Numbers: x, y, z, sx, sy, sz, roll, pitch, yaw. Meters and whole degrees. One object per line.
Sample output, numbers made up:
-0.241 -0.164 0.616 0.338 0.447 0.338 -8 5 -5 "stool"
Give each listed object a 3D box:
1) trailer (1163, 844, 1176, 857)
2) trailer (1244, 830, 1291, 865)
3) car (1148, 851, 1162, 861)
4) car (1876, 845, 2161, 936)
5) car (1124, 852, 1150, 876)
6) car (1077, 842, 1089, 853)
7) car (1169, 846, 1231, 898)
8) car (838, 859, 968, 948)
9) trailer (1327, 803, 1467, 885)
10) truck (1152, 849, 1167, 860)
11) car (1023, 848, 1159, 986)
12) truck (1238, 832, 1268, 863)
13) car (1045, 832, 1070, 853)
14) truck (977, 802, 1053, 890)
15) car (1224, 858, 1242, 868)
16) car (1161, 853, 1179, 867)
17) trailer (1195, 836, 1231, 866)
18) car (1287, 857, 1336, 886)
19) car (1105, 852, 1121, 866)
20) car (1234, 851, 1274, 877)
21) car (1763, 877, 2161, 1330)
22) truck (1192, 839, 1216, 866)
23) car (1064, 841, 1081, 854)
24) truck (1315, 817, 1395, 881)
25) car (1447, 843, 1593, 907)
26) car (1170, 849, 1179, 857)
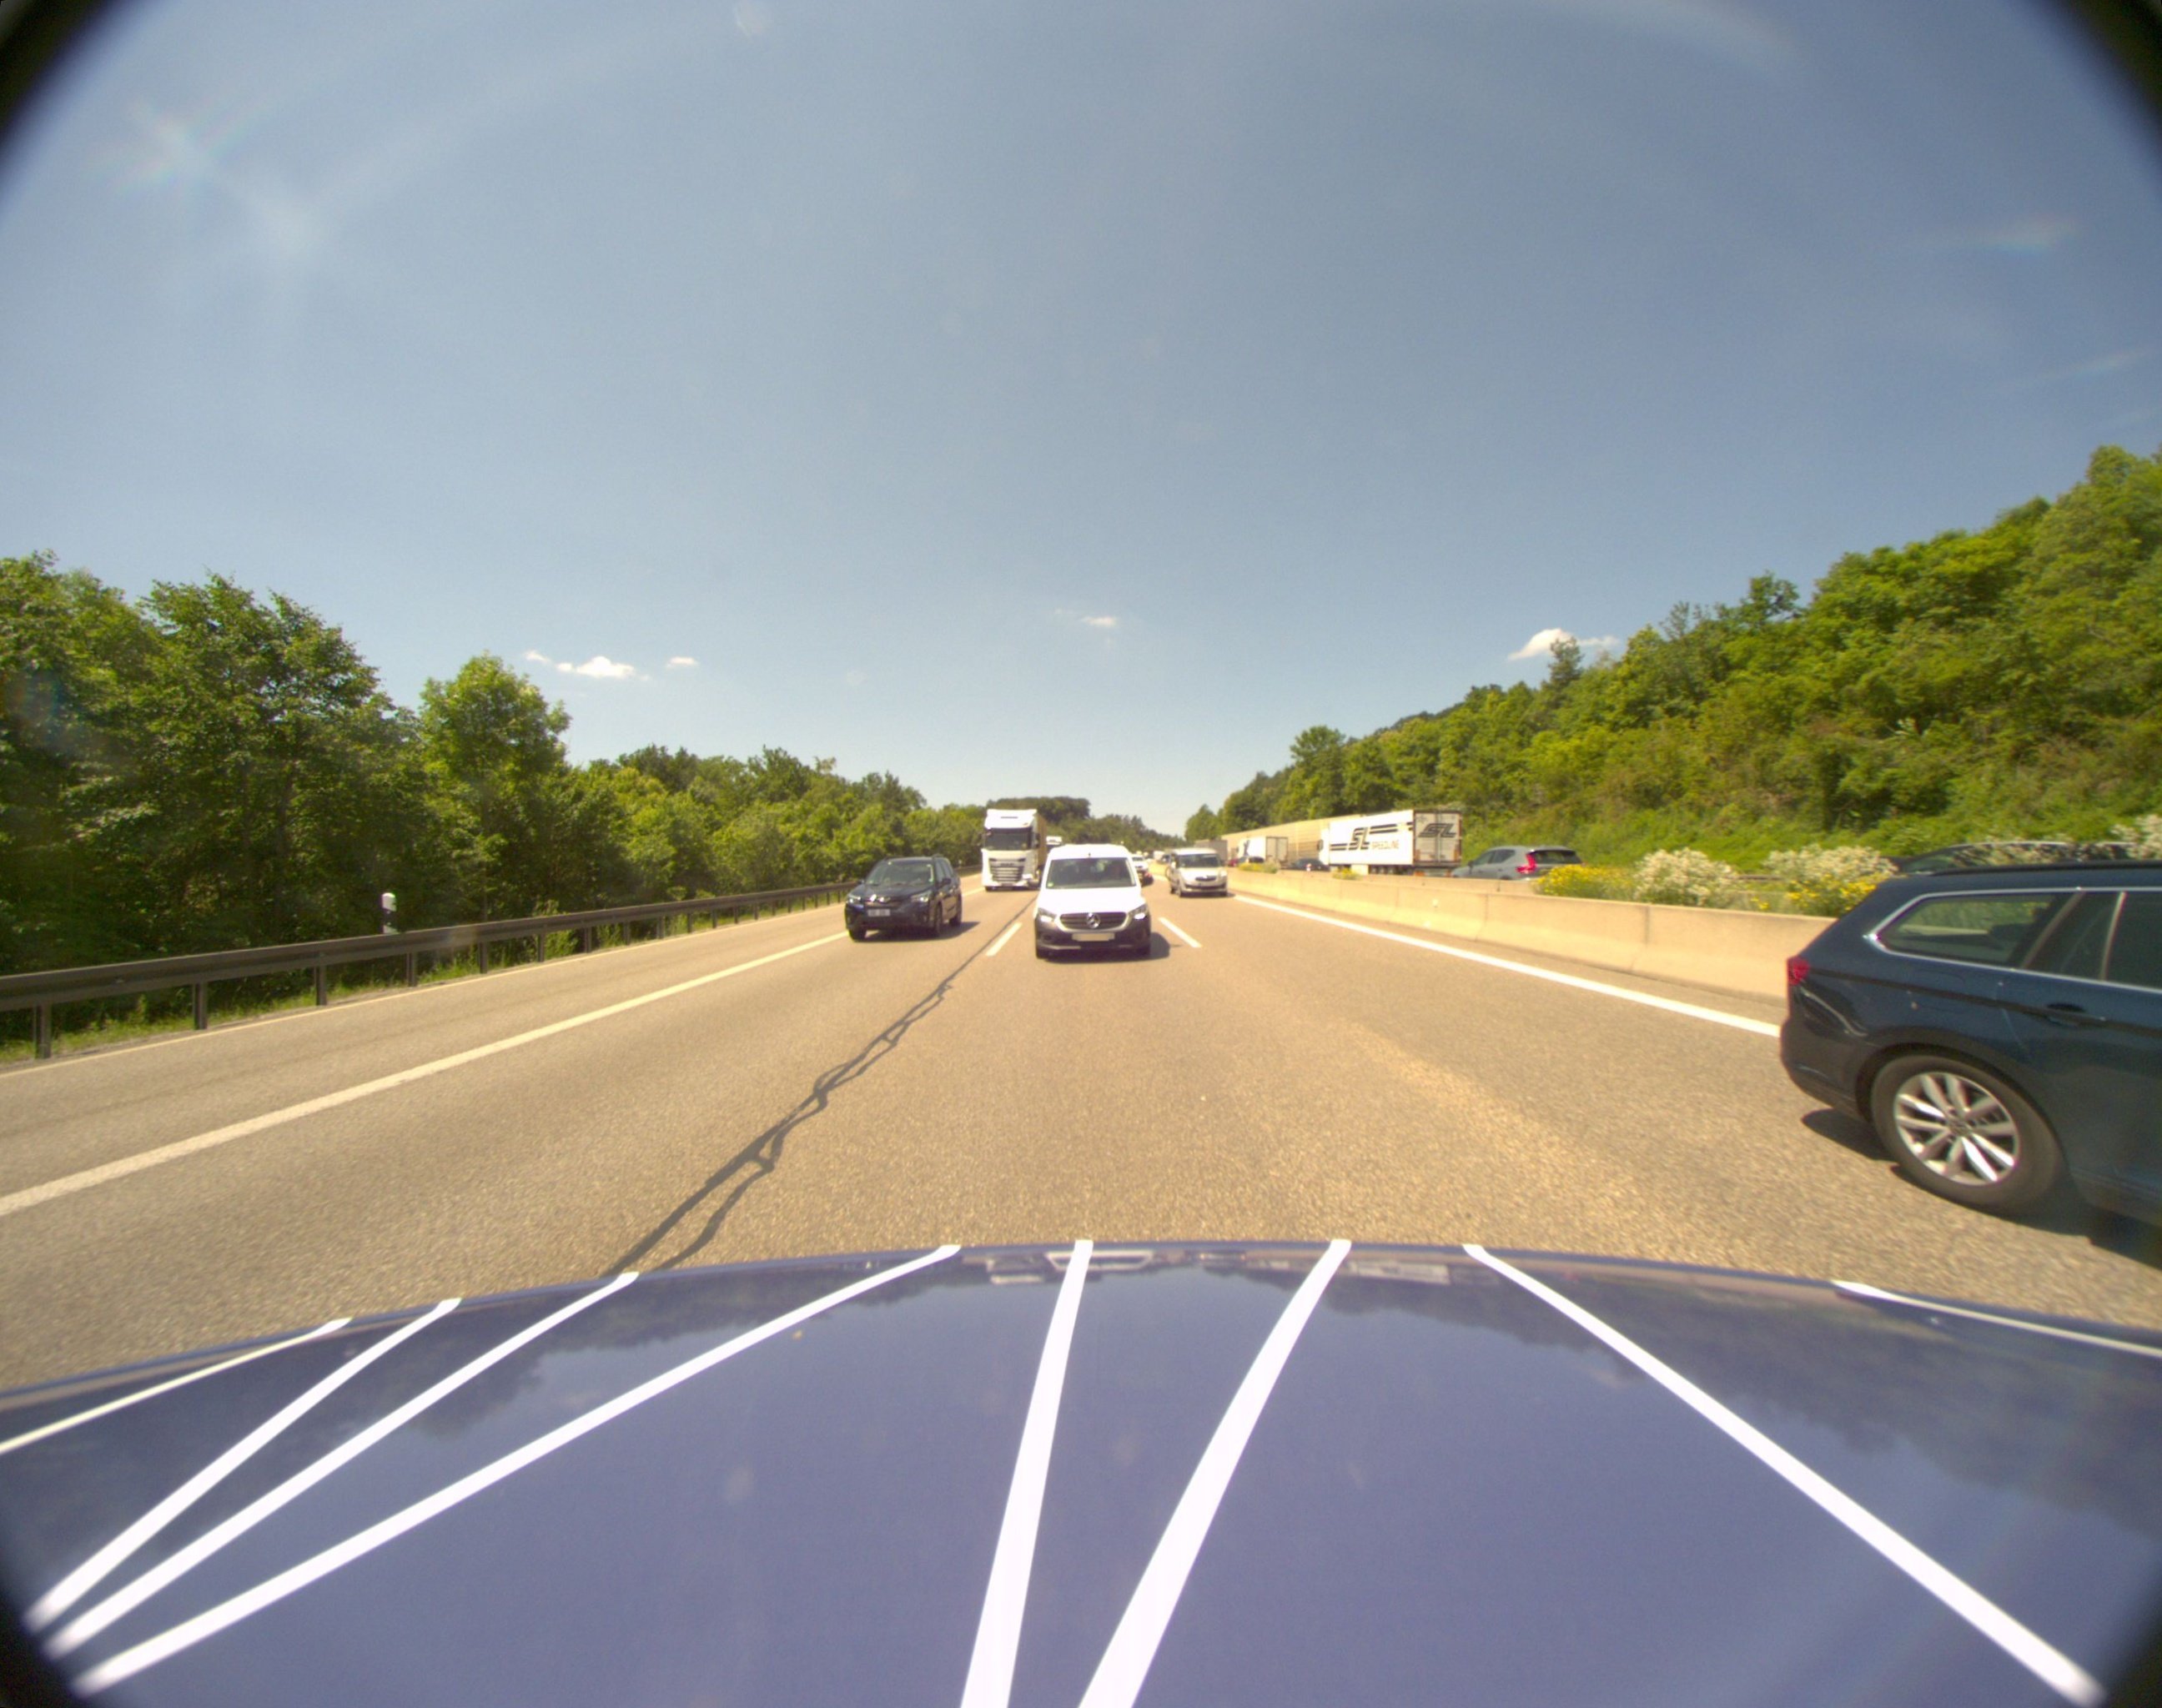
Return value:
27.950 -1.260 241.339 2.819 3.886 13.827 1 1 2 "trailer"
22.949 -0.780 94.289 2.814 4.024 12.624 0 1 0 "trailer"
13.292 0.371 136.650 1.999 1.783 3.999 -2 0 -1 "car"
16.801 0.549 13.305 1.567 1.358 4.000 0 0 0 "car"
4.361 0.770 59.532 1.998 1.827 4.001 0 0 3 "car"
0.467 -1.610 187.852 2.721 2.534 5.941 1 1 3 "car"
4.457 0.637 28.949 1.780 1.833 4.000 -1 0 1 "car"
-3.762 0.979 16.822 1.816 1.658 4.203 -1 0 1 "car"
18.917 -0.597 47.043 2.810 4.313 14.034 0 1 0 "trailer"
19.392 0.127 187.469 2.534 2.673 11.626 1 1 0 "truck"
0.198 0.826 12.089 1.729 1.760 4.313 -2 0 2 "car"
22.881 -0.852 101.514 2.814 4.024 5.084 0 1 0 "truck"
-2.954 -1.454 97.839 2.721 2.534 5.941 1 1 3 "car"
-3.437 -0.401 44.131 2.790 4.144 16.267 0 0 1 "truck"
22.477 1.298 112.431 1.767 1.362 4.501 0 0 0 "car"
12.421 0.751 106.345 1.916 1.836 5.035 1 1 0 "car"
19.484 -0.552 113.172 2.842 4.141 14.736 1 1 1 "trailer"
15.386 1.125 50.938 1.789 1.766 4.730 1 1 0 "car"
4.292 0.669 103.050 1.998 1.783 4.000 -2 0 0 "car"
12.840 0.710 56.684 1.888 1.746 4.787 1 1 0 "car"
4.356 0.837 1.531 1.737 1.419 4.730 0 0 1 "car"
19.570 -0.247 120.937 2.848 4.189 5.659 -1 0 0 "truck"
-1.620 -1.269 145.406 2.721 2.534 5.941 1 1 3 "car"
18.890 -0.342 52.894 2.810 4.141 7.598 0 1 0 "truck"
11.449 0.504 20.146 1.567 1.510 4.000 0 0 0 "car"
25.066 -0.244 203.228 1.998 2.002 4.000 -2 0 1 "car"
